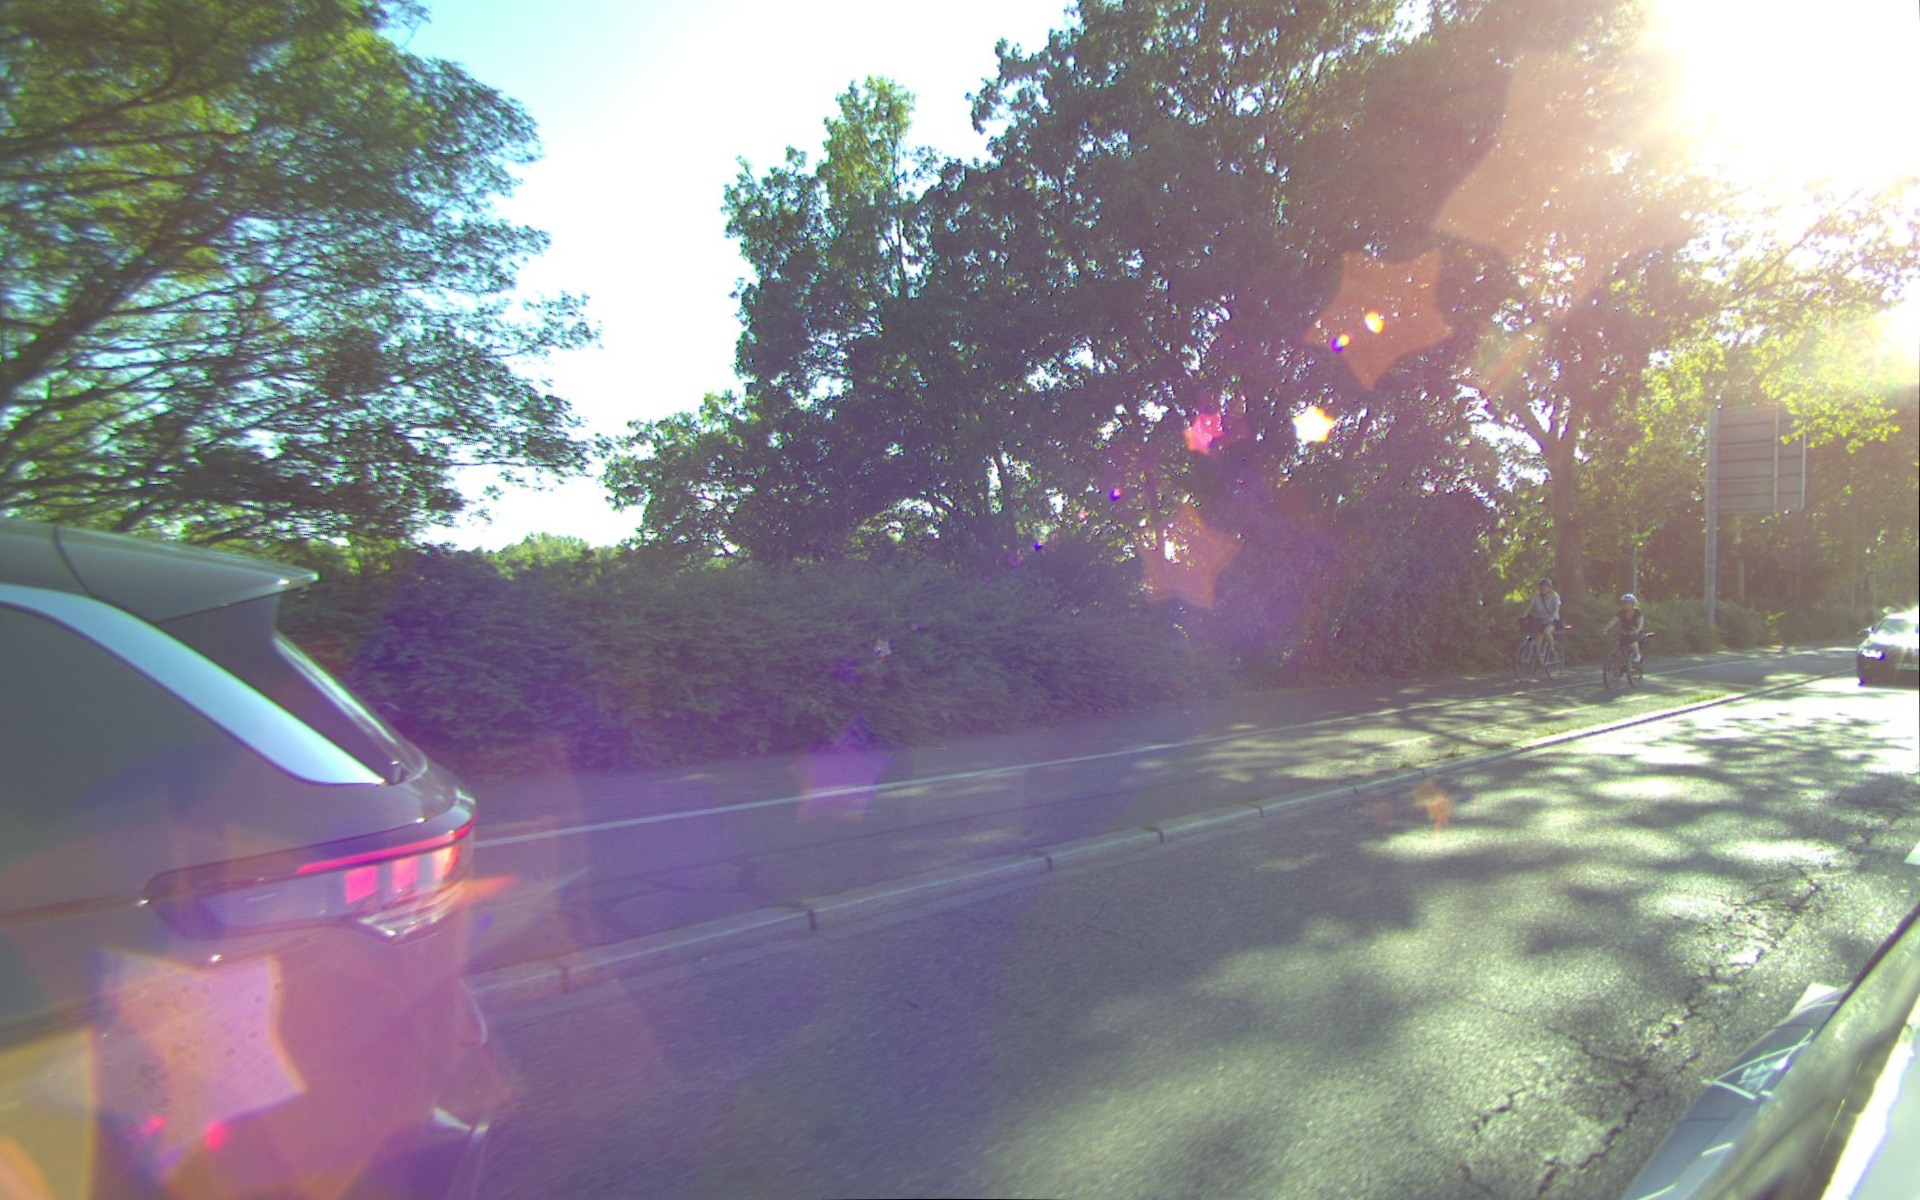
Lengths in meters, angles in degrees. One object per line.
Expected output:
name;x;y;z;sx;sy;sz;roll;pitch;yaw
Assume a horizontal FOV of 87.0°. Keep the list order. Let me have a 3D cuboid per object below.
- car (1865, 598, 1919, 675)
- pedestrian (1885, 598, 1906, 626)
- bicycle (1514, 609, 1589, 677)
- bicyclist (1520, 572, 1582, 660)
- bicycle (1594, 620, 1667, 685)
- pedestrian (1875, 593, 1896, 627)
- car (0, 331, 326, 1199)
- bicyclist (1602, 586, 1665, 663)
car;20.489;0.713;21.100;4.506;1.486;1.869;0;0;-41
pedestrian;49.936;0.631;54.036;0.709;1.499;0.724;1;1;-42
bicycle;10.555;0.737;18.029;1.781;1.134;0.623;1;1;-42
bicyclist;10.517;0.273;18.006;0.875;1.527;0.687;1;1;-41
bicycle;11.277;0.855;16.998;1.757;0.986;0.566;1;1;-42
pedestrian;48.370;0.533;52.888;0.799;1.729;0.723;1;1;-42
car;-3.023;0.545;0.492;4.363;1.682;1.847;0;1;-42
bicyclist;11.347;0.401;17.049;0.875;1.241;0.642;1;1;-41
